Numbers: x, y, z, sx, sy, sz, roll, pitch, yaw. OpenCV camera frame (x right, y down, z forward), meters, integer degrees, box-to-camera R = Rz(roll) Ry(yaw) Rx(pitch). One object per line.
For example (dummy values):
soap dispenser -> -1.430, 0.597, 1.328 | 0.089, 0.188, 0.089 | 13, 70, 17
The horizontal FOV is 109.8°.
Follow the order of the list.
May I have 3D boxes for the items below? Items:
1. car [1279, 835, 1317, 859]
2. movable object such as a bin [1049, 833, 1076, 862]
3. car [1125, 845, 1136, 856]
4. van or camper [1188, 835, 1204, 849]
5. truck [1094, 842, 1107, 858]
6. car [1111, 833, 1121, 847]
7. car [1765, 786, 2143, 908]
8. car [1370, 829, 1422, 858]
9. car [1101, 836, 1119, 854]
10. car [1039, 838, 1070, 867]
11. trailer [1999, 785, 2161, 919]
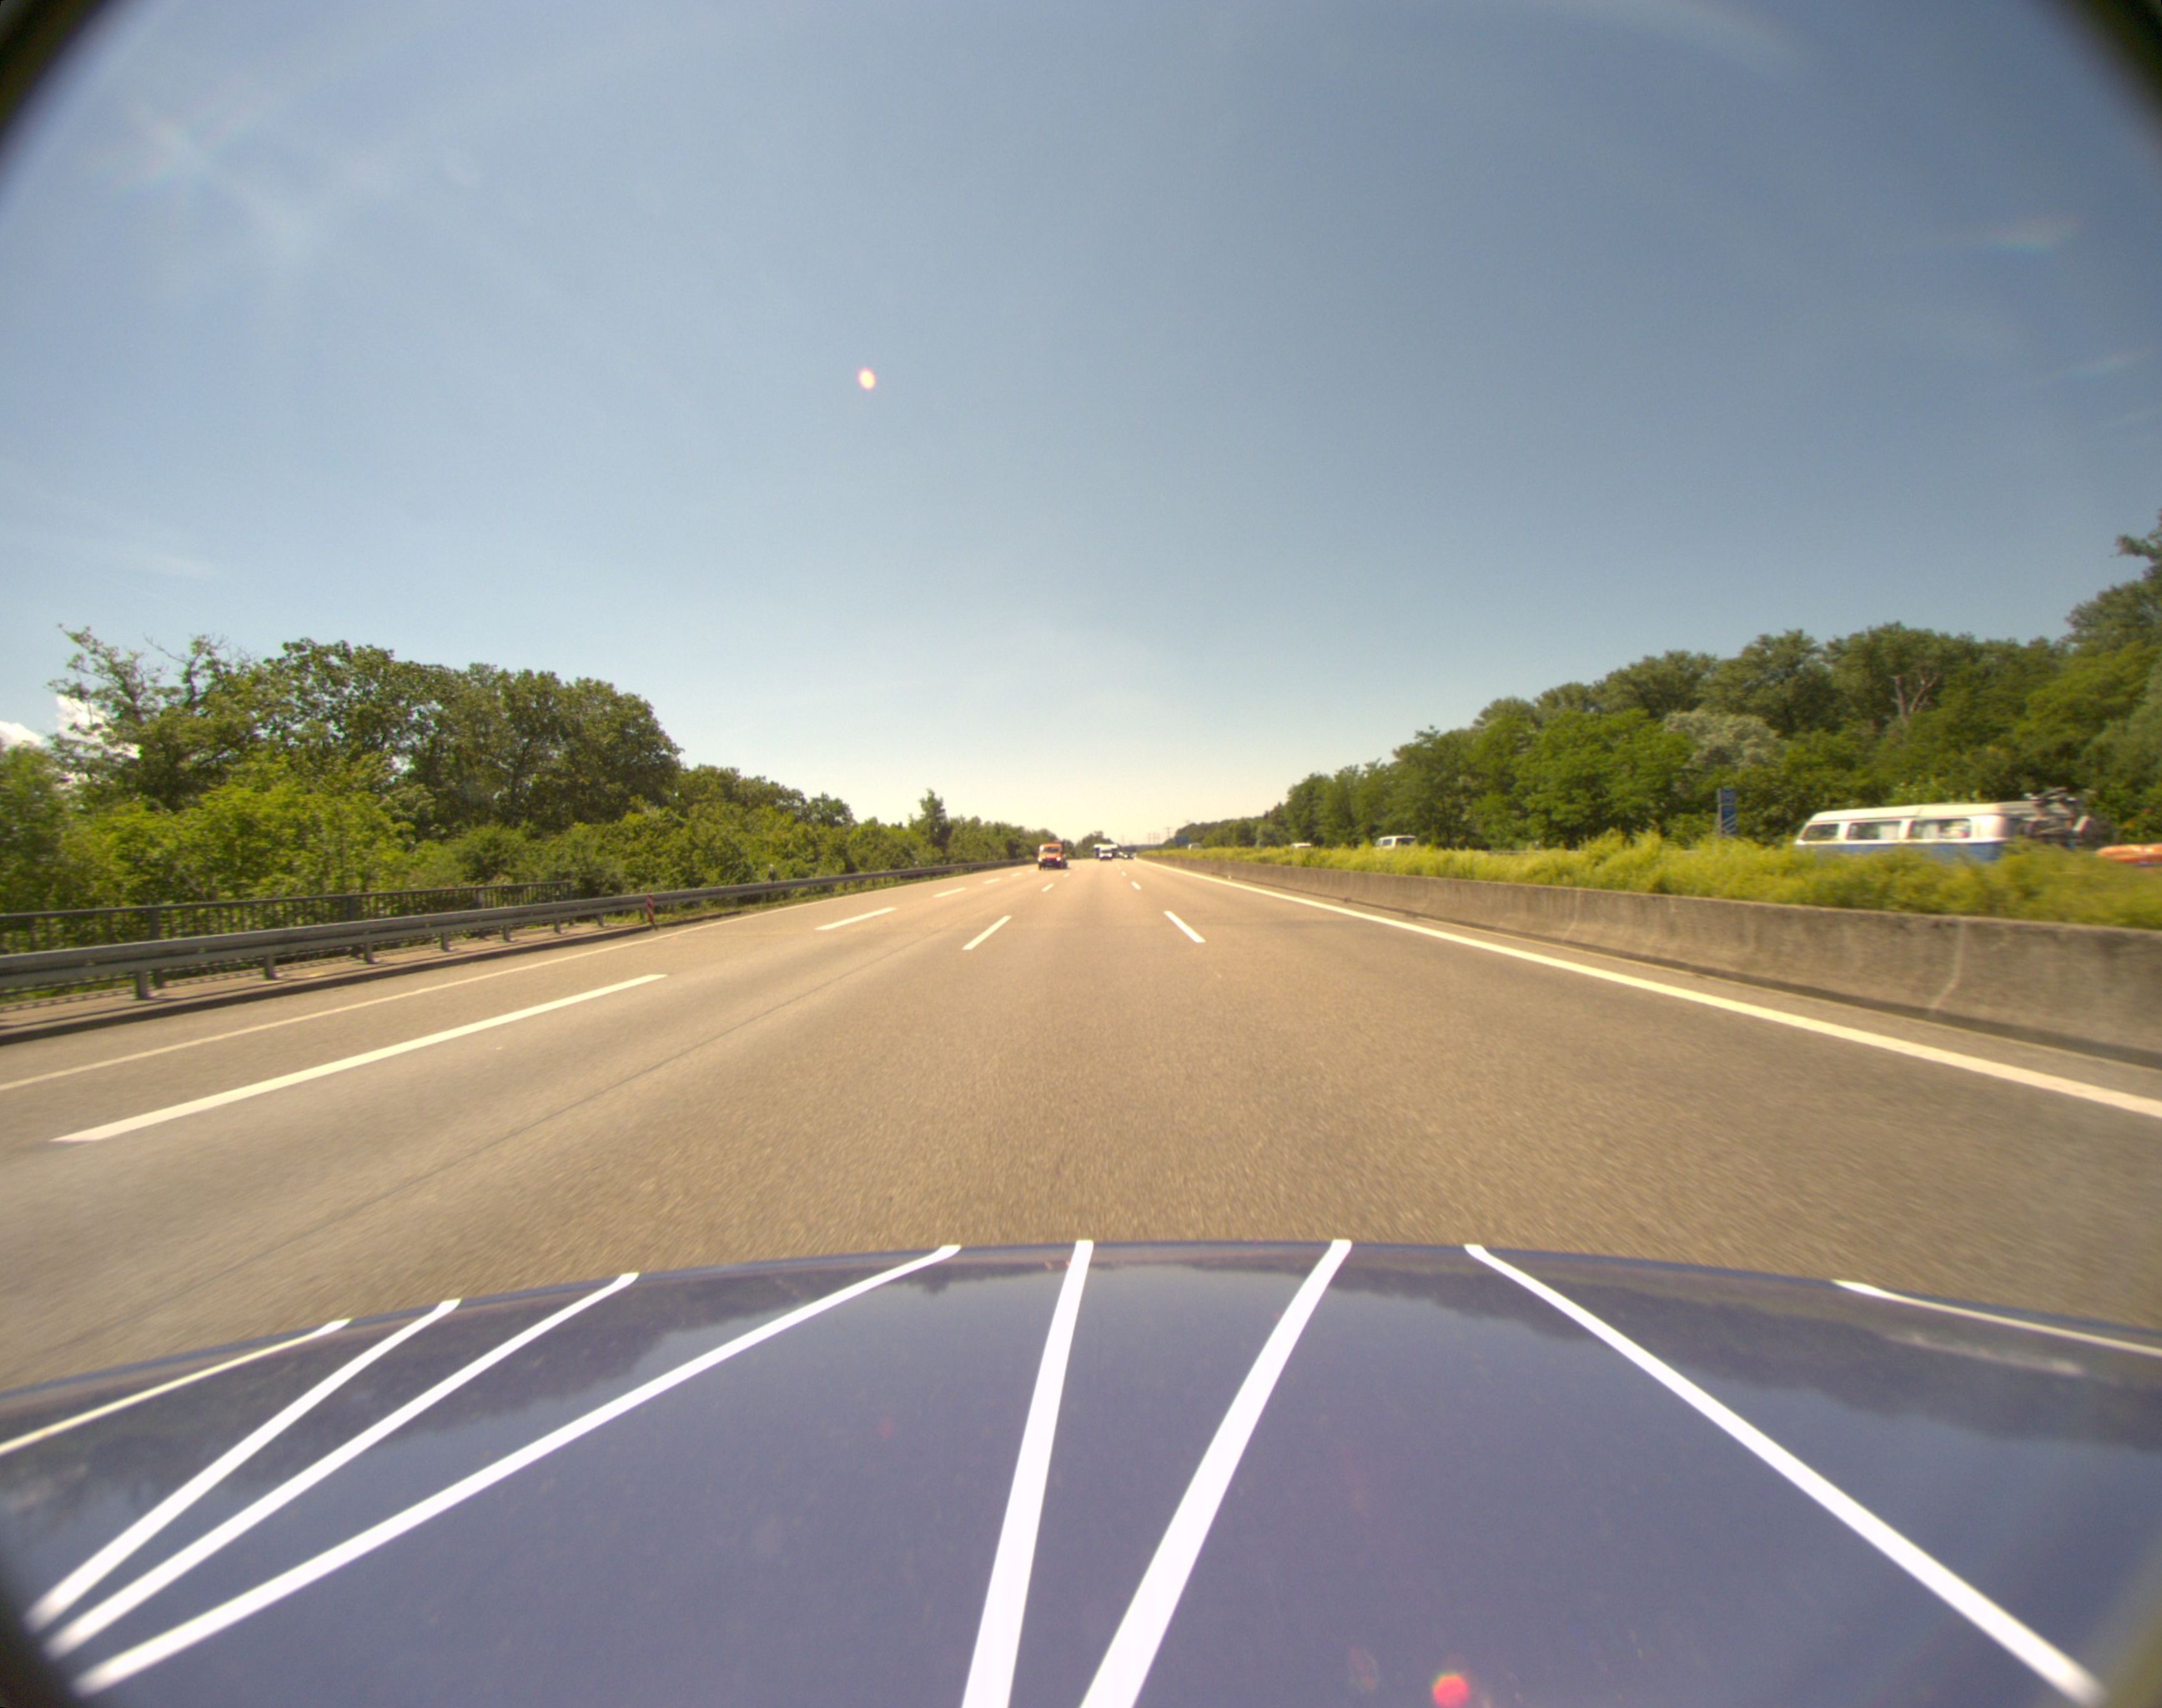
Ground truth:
car -> 18.371, -0.599, 64.521 | 1.909, 1.888, 4.722 | -2, 1, 2
movable object such as a bin -> -1.834, -0.616, 76.234 | 2.179, 2.799, 4.762 | -2, 0, 4
car -> 9.701, -0.736, 148.290 | 1.998, 2.002, 4.000 | -2, 1, 2
van or camper -> 20.388, -2.182, 134.839 | 2.255, 2.373, 6.760 | -1, 1, 4
truck -> 5.542, -1.034, 213.847 | 2.989, 4.187, 7.596 | -3, 0, 6
car -> 10.687, -4.323, 230.019 | 2.796, 4.090, 7.306 | -2, 1, 2
car -> 17.362, -0.155, 15.646 | 2.130, 2.070, 4.970 | -2, 1, 1
car -> 22.773, -0.761, 55.134 | 1.998, 2.002, 4.618 | -2, 1, 2
car -> 4.963, -1.481, 130.637 | 2.521, 2.857, 6.402 | -5, 0, 6
car -> -2.350, -0.137, 70.110 | 1.998, 2.391, 7.228 | -2, 0, 5
trailer -> 17.293, -0.076, 12.249 | 2.108, 2.014, 2.369 | -2, 1, 1
